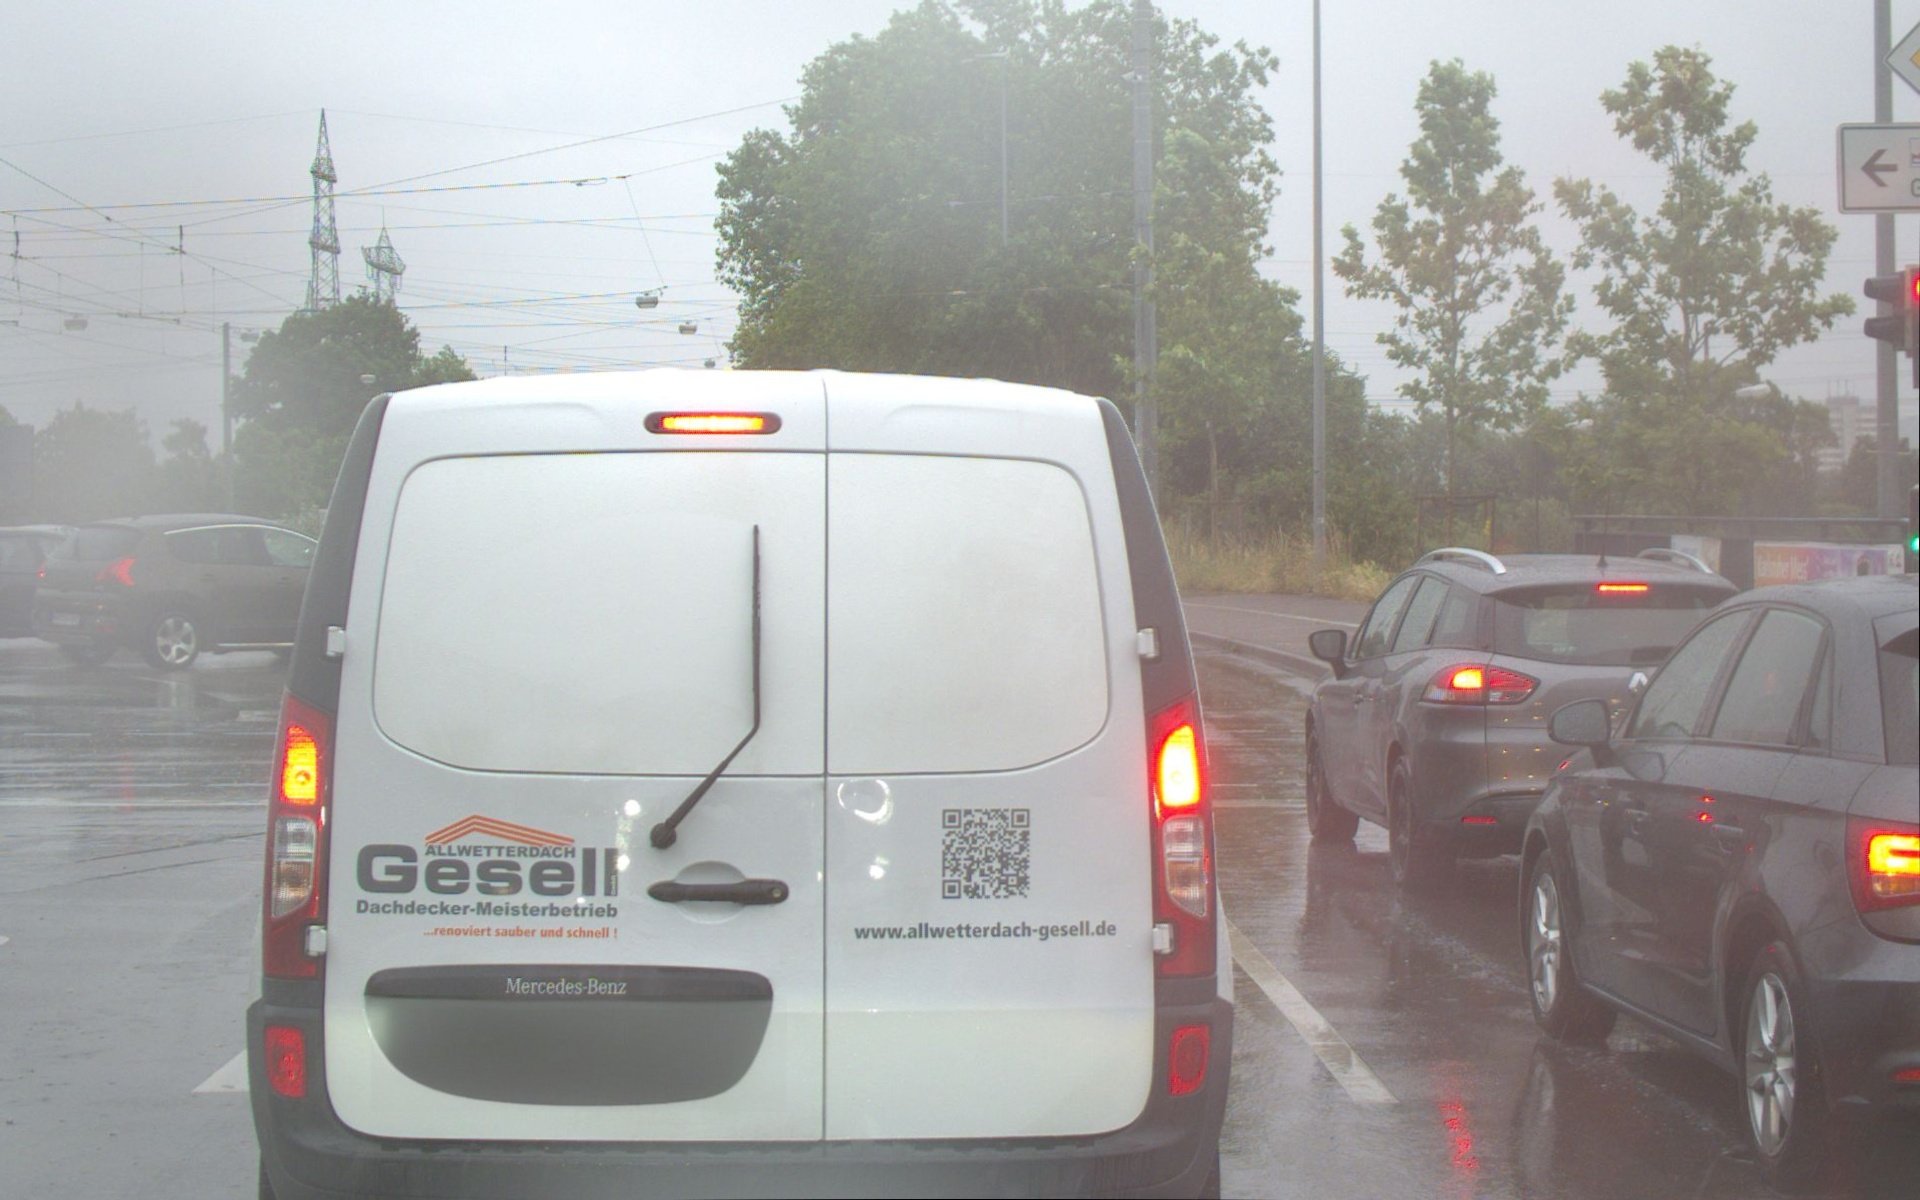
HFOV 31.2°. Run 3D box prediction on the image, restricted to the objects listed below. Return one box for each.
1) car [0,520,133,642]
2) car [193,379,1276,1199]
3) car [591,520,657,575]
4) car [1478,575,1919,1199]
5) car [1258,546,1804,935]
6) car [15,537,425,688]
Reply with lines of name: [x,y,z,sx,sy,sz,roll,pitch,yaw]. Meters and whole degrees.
car: [-11.804,-0.268,40.971,1.649,1.393,3.446,4,1,38]
car: [-0.510,0.458,7.702,1.754,1.744,4.170,1,2,-4]
car: [-10.956,-1.704,112.227,1.947,1.656,4.465,2,0,-4]
car: [2.511,0.628,8.974,1.597,1.362,3.631,-1,0,-3]
car: [2.417,0.526,15.483,1.684,1.503,3.921,1,1,-1]
car: [-7.798,0.151,36.415,3.913,1.393,1.535,3,1,-40]
